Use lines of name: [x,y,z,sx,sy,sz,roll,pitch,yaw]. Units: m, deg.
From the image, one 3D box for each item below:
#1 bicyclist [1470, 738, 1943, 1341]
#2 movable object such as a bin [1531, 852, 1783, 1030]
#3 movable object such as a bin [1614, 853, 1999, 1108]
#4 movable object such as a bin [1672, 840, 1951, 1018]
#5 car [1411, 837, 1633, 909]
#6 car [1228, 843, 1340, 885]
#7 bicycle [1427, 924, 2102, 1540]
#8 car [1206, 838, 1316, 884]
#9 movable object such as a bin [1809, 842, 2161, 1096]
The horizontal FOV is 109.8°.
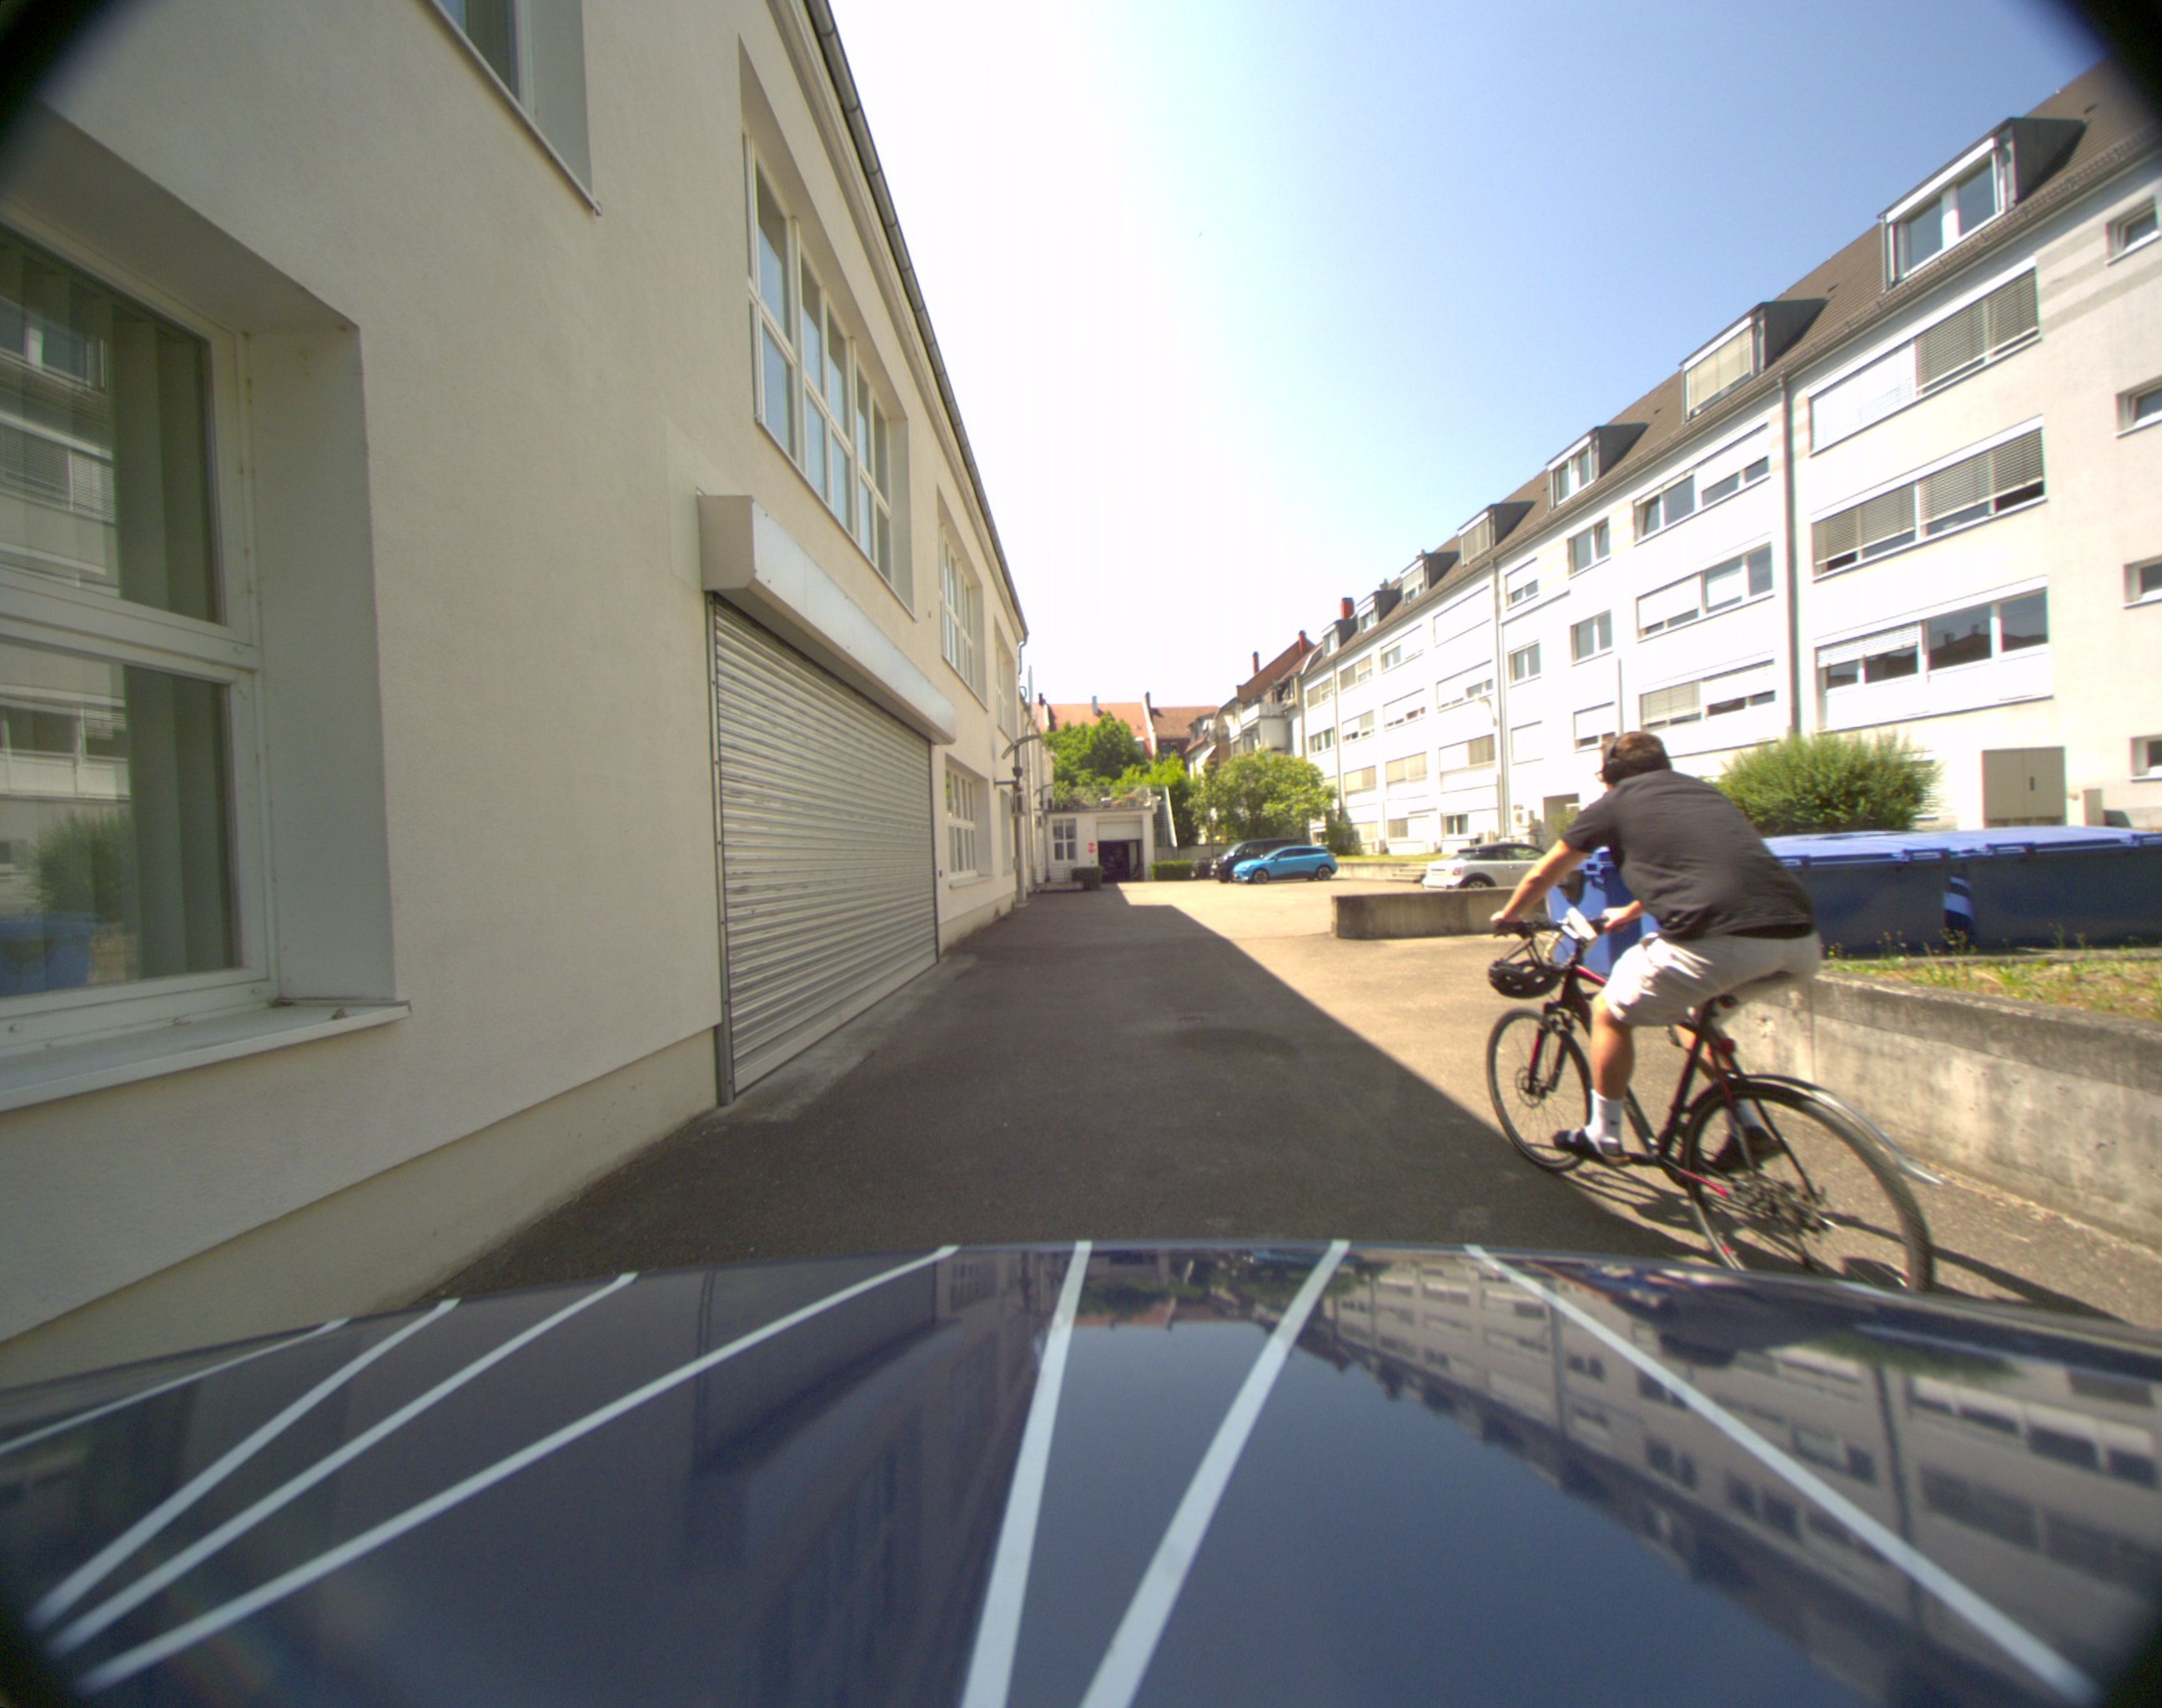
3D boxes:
bicyclist: [1.941,0.505,2.539,0.724,1.600,0.978,-3,1,1]
movable object such as a bin: [4.783,0.677,6.431,1.257,1.320,1.104,-3,0,1]
movable object such as a bin: [4.308,0.687,4.660,1.257,1.320,1.104,-3,0,1]
movable object such as a bin: [6.093,0.584,6.446,1.257,1.320,1.104,-3,0,1]
car: [9.801,0.403,17.068,3.998,1.428,1.711,-2,0,-2]
car: [8.556,0.405,32.232,4.168,1.544,1.859,-3,1,-4]
bicycle: [1.969,0.943,2.656,0.645,1.167,1.904,-3,1,1]
car: [8.170,0.282,34.807,4.448,1.821,1.999,-3,1,-2]
movable object such as a bin: [5.629,0.619,4.644,1.257,1.320,1.104,-3,0,1]
